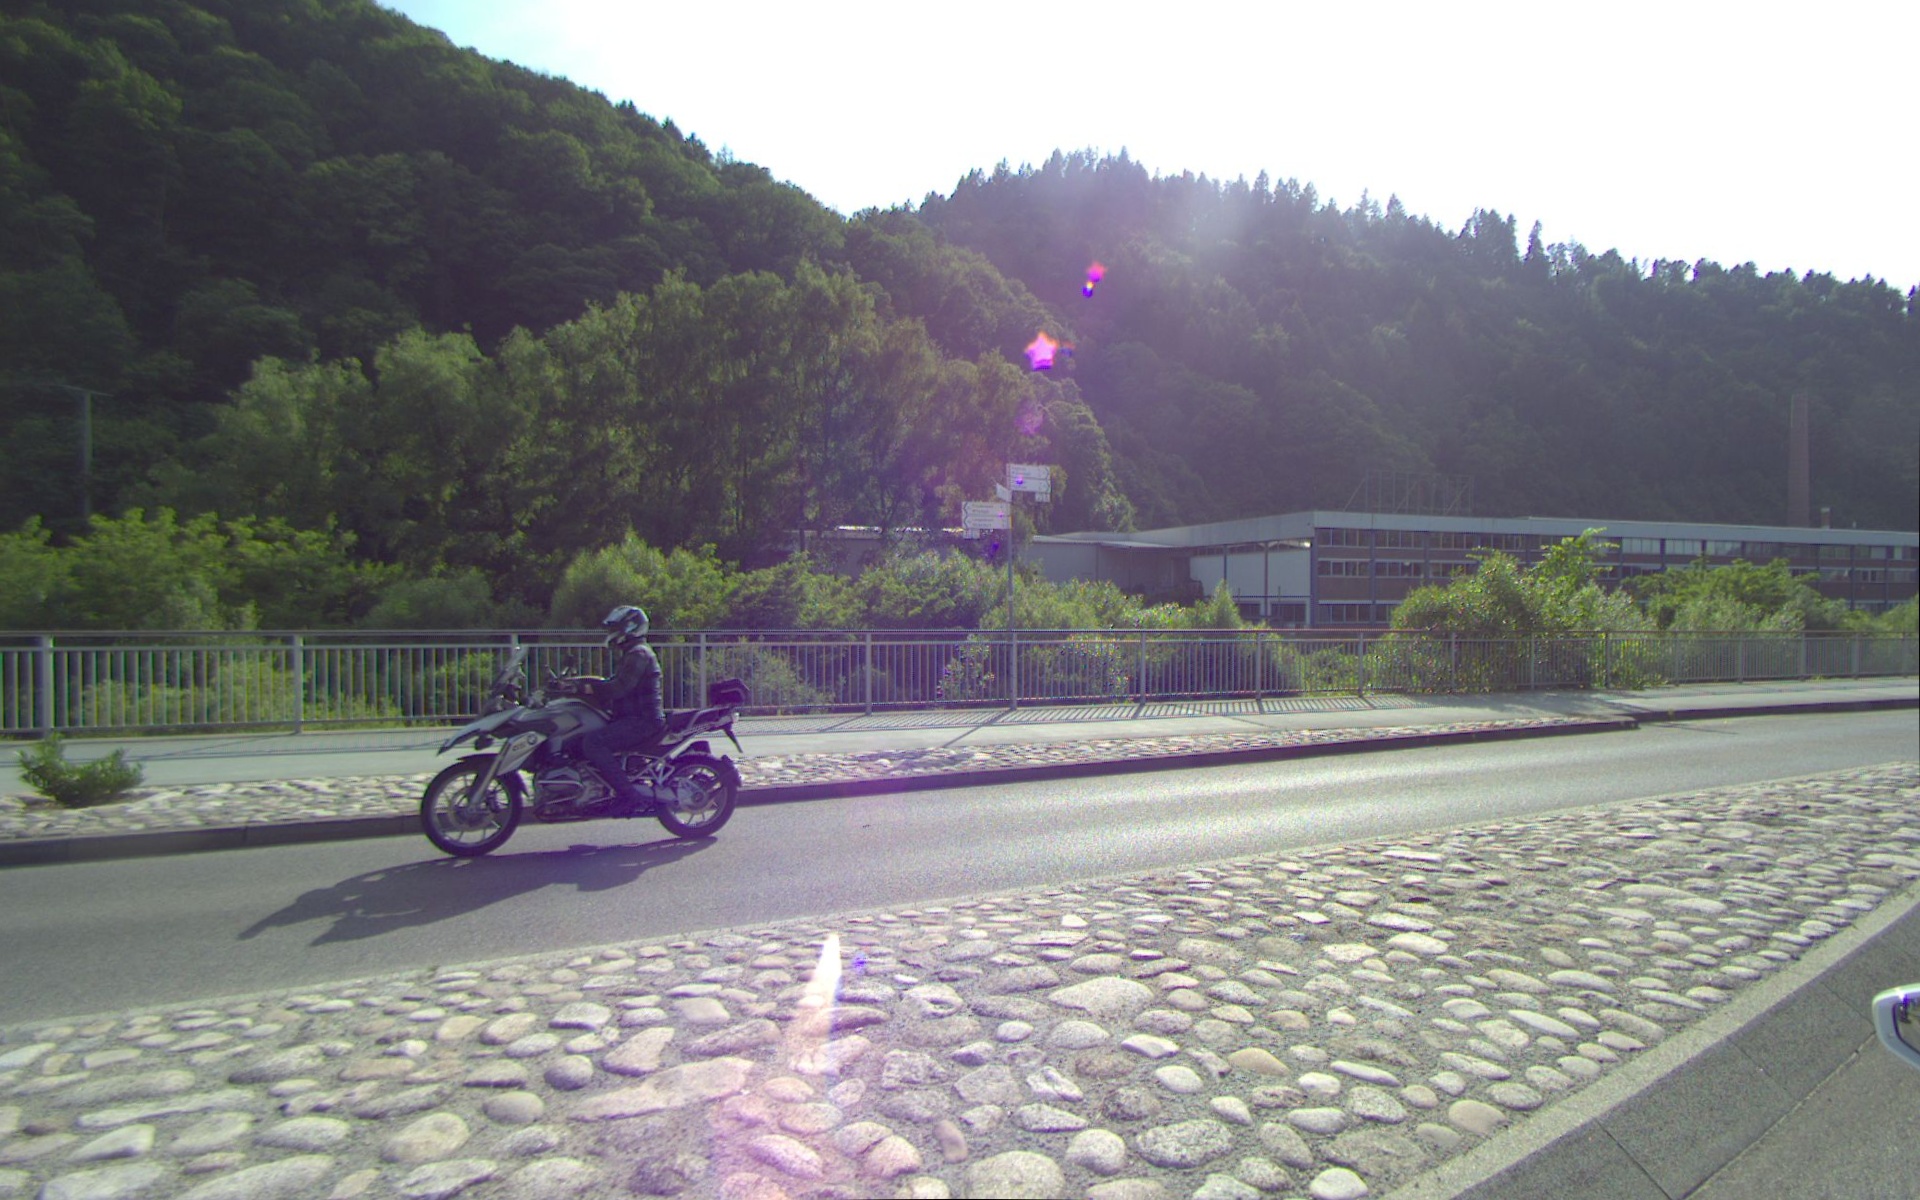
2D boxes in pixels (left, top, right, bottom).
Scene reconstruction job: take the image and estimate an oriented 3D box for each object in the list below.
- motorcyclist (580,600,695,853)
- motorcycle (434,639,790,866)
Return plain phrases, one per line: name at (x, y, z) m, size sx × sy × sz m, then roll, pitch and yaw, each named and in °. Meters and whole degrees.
motorcyclist at (-2.324, 0.865, 7.245) m, size 0.716 × 1.700 × 0.762 m, roll 1°, pitch -1°, yaw -19°
motorcycle at (-2.432, 1.009, 7.218) m, size 2.283 × 1.441 × 0.771 m, roll 1°, pitch -1°, yaw -21°
